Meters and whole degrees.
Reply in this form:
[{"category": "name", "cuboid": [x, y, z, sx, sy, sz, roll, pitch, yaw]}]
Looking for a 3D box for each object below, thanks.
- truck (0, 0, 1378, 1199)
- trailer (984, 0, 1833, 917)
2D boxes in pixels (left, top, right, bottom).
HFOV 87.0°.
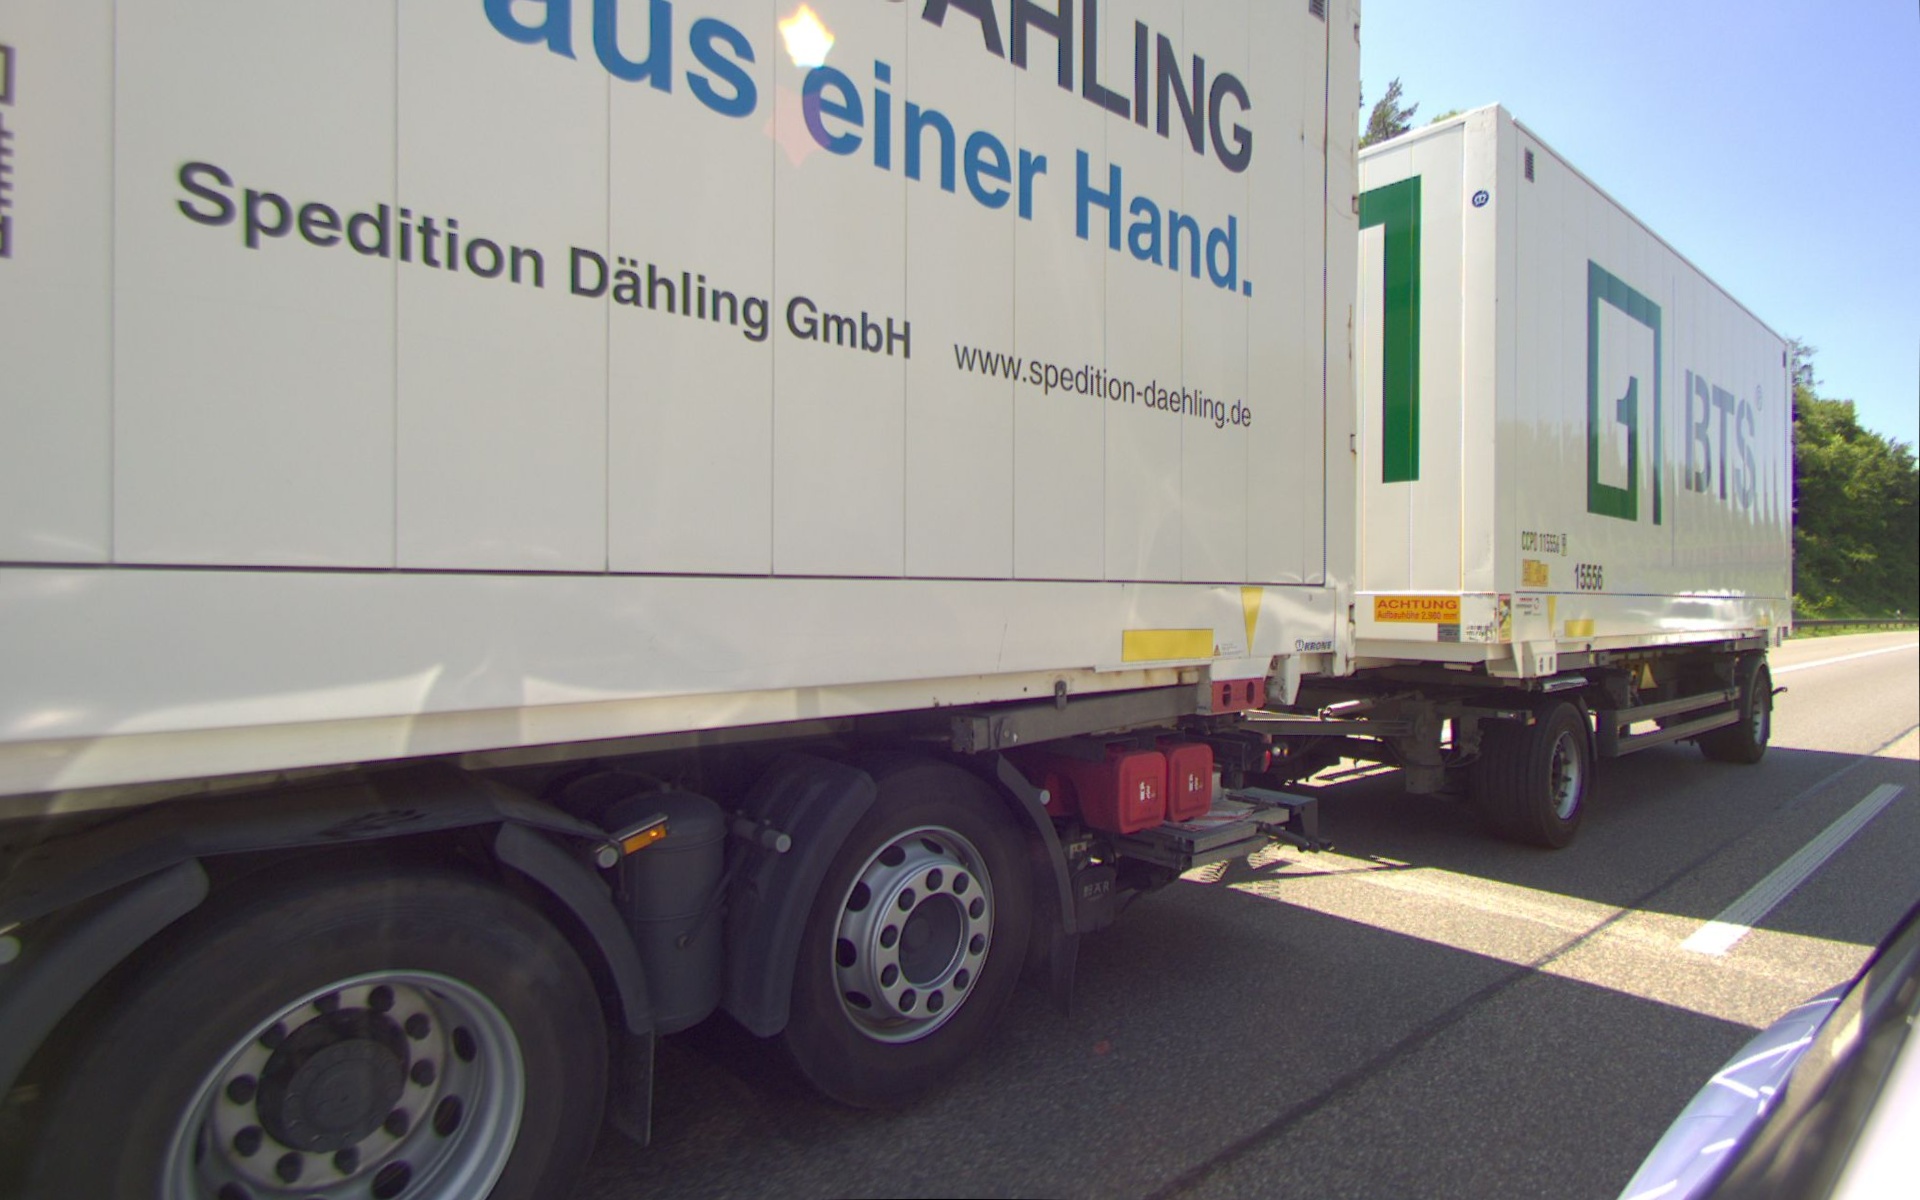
[{"category": "truck", "cuboid": [-3.183, -0.691, 1.620, 10.437, 4.111, 2.685, 1, -1, -41]}, {"category": "trailer", "cuboid": [4.767, -0.700, 8.616, 9.888, 4.229, 2.684, 1, -1, -41]}]
